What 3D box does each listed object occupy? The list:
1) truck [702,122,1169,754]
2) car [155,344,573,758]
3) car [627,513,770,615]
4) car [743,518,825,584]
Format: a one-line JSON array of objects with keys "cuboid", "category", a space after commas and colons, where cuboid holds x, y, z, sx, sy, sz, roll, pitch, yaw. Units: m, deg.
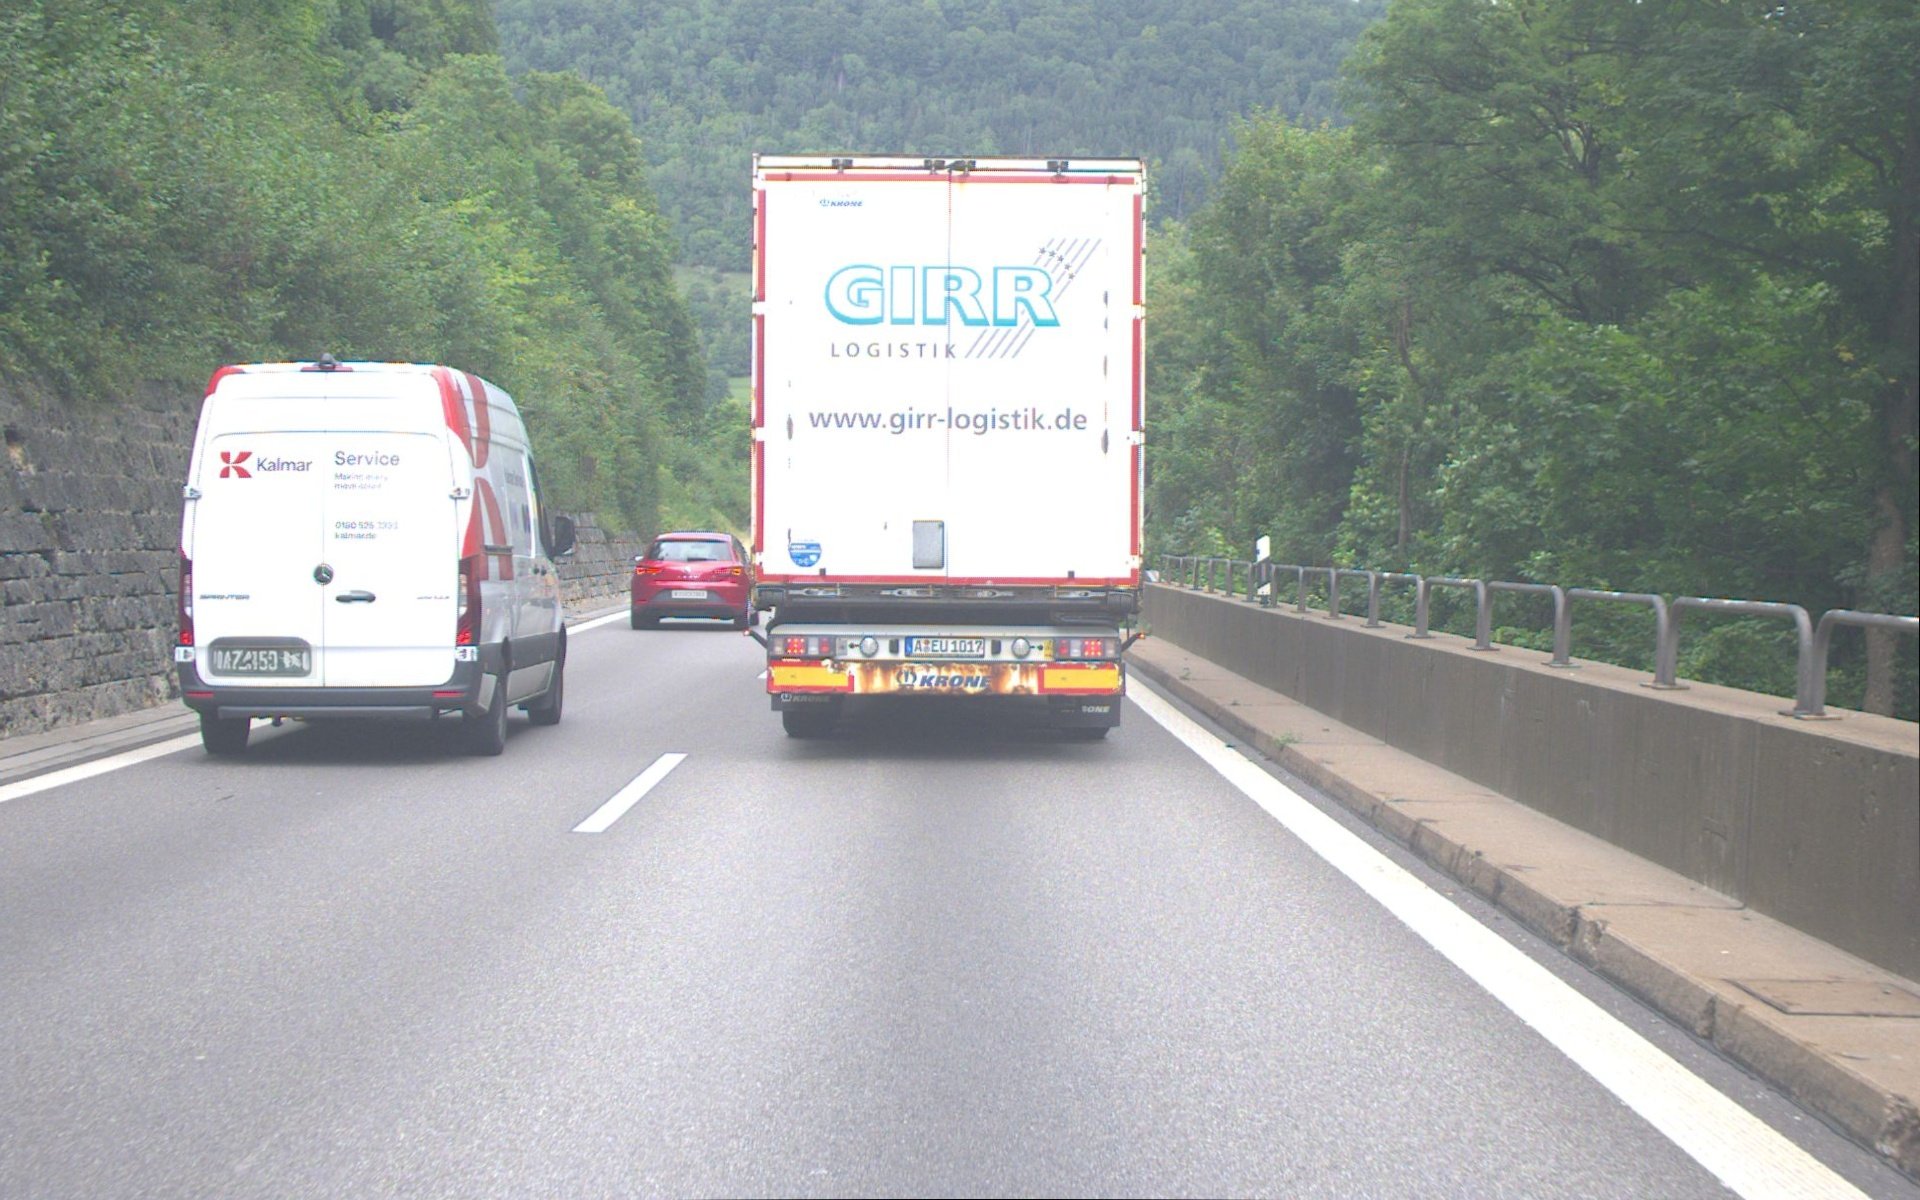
[{"cuboid": [-0.117, -1.099, 26.203, 2.909, 3.947, 9.279, 0, 1, 0], "category": "truck"}, {"cuboid": [-4.077, -0.351, 24.625, 2.026, 2.576, 6.275, 0, 1, -1], "category": "car"}, {"cuboid": [-3.881, -0.542, 51.635, 1.766, 1.455, 4.411, 0, 1, 0], "category": "car"}, {"cuboid": [-4.482, -1.241, 87.096, 1.668, 1.633, 4.069, 0, 1, -9], "category": "car"}]
